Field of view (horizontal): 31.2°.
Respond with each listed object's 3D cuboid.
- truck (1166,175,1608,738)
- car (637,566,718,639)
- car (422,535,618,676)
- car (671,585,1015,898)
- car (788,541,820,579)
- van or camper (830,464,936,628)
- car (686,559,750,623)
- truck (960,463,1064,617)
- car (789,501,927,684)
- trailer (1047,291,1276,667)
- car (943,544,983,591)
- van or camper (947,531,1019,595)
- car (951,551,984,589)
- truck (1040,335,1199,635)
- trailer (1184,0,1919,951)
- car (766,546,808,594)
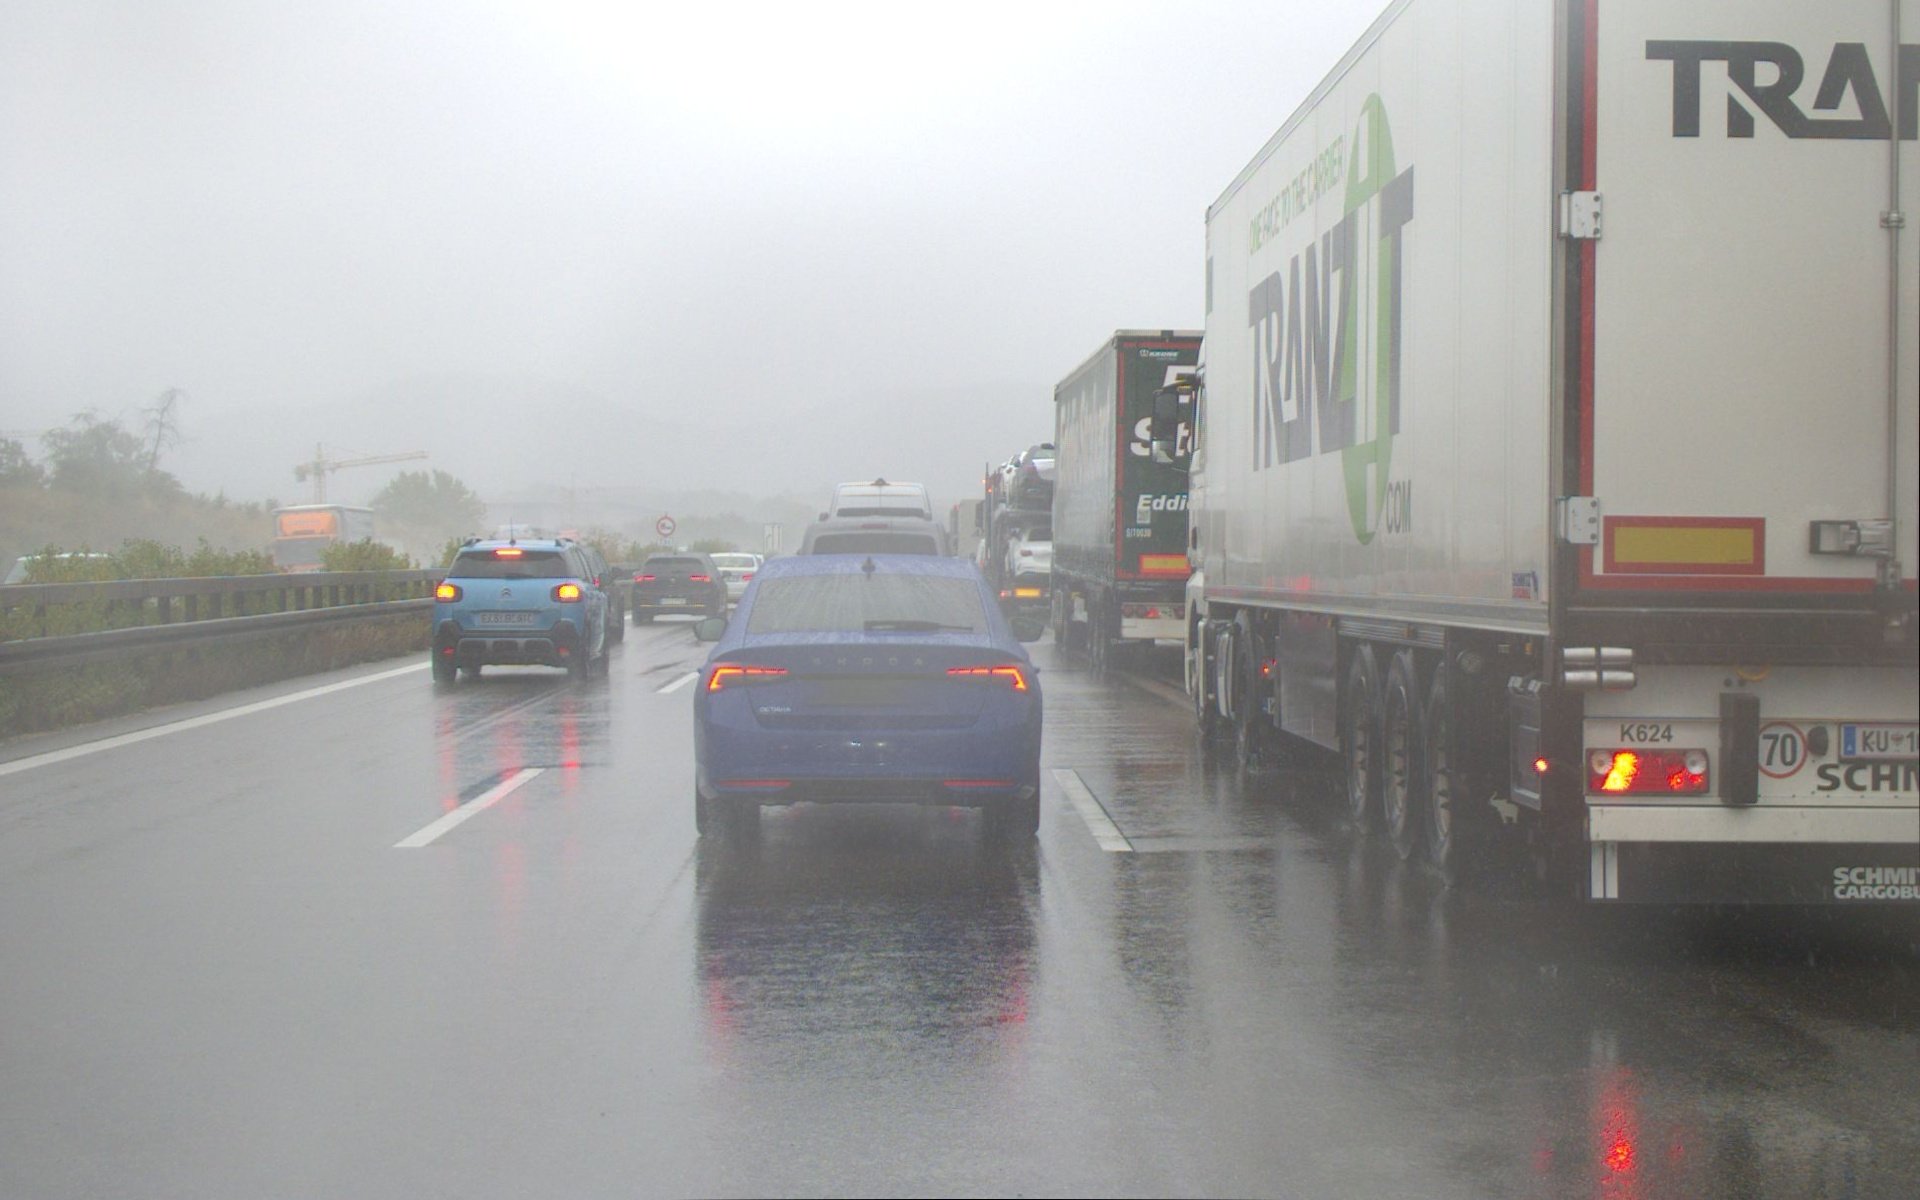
[{"bbox_3d":[3.040,-1.024,25.740,2.630,3.814,4.792,0,1,-1],"label":"truck"},{"bbox_3d":[-5.741,0.037,70.200,1.439,1.415,3.322,0,1,-1],"label":"car"},{"bbox_3d":[-4.956,0.024,39.167,1.721,1.518,4.000,0,1,0],"label":"car"},{"bbox_3d":[-0.565,0.666,18.388,1.635,1.440,4.000,0,1,0],"label":"car"},{"bbox_3d":[-7.549,-1.940,166.351,1.448,1.777,3.409,0,1,-1],"label":"car"},{"bbox_3d":[-1.356,-0.968,60.804,1.797,2.797,4.768,0,1,-1],"label":"van or camper"},{"bbox_3d":[-6.080,-0.241,86.723,1.439,1.528,3.322,0,1,-1],"label":"car"},{"bbox_3d":[1.156,-1.450,80.131,1.993,3.410,8.033,0,2,-2],"label":"truck"},{"bbox_3d":[-1.021,-0.107,35.048,1.336,1.773,3.322,0,1,-1],"label":"car"},{"bbox_3d":[2.377,-1.467,43.852,2.047,4.162,11.449,0,1,-1],"label":"trailer"},{"bbox_3d":[0.090,-1.252,131.518,1.448,1.777,3.409,0,1,-1],"label":"car"},{"bbox_3d":[0.572,-0.998,90.509,1.771,1.619,4.484,0,2,-1],"label":"van or camper"},{"bbox_3d":[0.308,-1.259,142.964,1.248,1.507,3.108,-1,2,-1],"label":"car"},{"bbox_3d":[2.269,-1.649,49.965,2.047,4.178,4.000,0,1,-1],"label":"truck"},{"bbox_3d":[3.161,-0.965,19.048,2.630,3.999,14.631,0,1,-1],"label":"trailer"},{"bbox_3d":[-6.486,-1.142,128.883,1.448,1.777,3.409,0,1,-1],"label":"car"}]
